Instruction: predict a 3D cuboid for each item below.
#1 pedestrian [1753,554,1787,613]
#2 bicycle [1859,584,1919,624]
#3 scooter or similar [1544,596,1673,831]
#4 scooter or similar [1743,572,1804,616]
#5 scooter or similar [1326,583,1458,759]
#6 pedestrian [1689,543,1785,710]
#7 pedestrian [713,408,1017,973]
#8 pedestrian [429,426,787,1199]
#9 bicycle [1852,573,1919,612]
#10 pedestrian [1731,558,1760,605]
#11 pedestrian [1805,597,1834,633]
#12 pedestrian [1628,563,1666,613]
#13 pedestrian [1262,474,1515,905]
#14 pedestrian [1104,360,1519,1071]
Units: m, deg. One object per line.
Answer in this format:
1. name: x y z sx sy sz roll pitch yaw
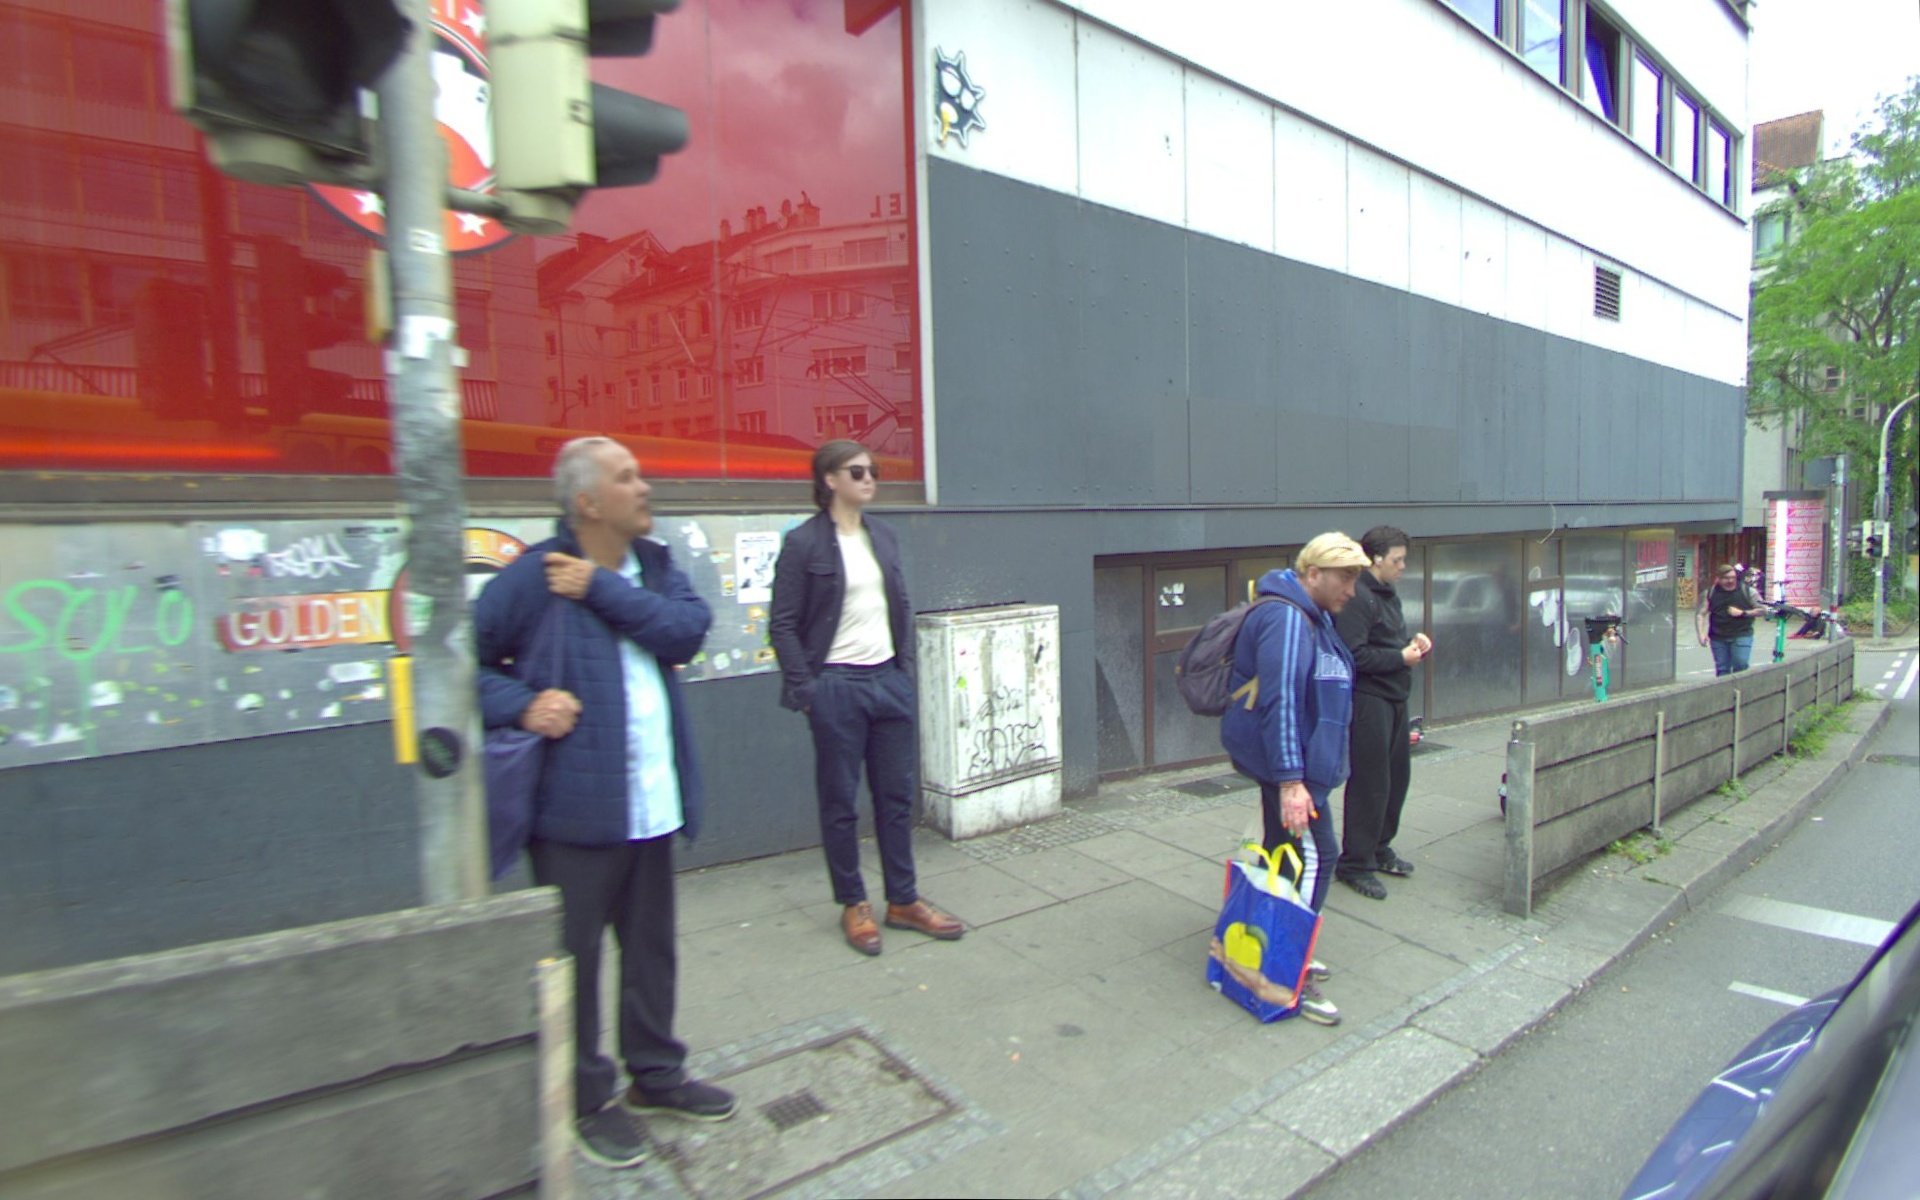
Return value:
1. pedestrian: 26.552 -0.545 33.183 0.864 1.913 0.706 -1 1 -38
2. bicycle: 30.326 0.133 32.782 1.739 1.236 0.534 3 3 42
3. scooter or similar: 3.883 0.639 6.049 0.799 1.291 0.354 1 4 -42
4. scooter or similar: 25.126 -0.189 31.284 0.618 1.269 1.394 -1 3 -9
5. scooter or similar: 3.360 0.519 7.864 0.961 1.292 0.429 0 1 -30
6. pedestrian: 8.857 0.274 11.535 0.868 1.808 0.721 -1 1 -43
7. pedestrian: -0.382 0.272 3.733 0.642 1.826 0.730 -1 12 -40
8. pedestrian: -0.856 0.459 2.407 0.580 1.670 0.563 0 7 -41
9. bicycle: 30.755 -0.263 33.609 1.686 1.237 0.534 2 2 42
10. pedestrian: 26.064 -0.601 33.564 0.652 1.542 0.625 -1 1 -38
11. pedestrian: 22.366 0.377 26.325 0.573 0.921 0.485 0 1 -41
12. pedestrian: 25.500 -0.445 37.566 0.720 1.856 0.905 0 0 -16
13. pedestrian: 1.982 0.347 4.726 0.643 1.814 0.740 -1 6 -40
14. pedestrian: 1.185 0.302 3.535 0.765 2.086 0.949 -1 7 -40
